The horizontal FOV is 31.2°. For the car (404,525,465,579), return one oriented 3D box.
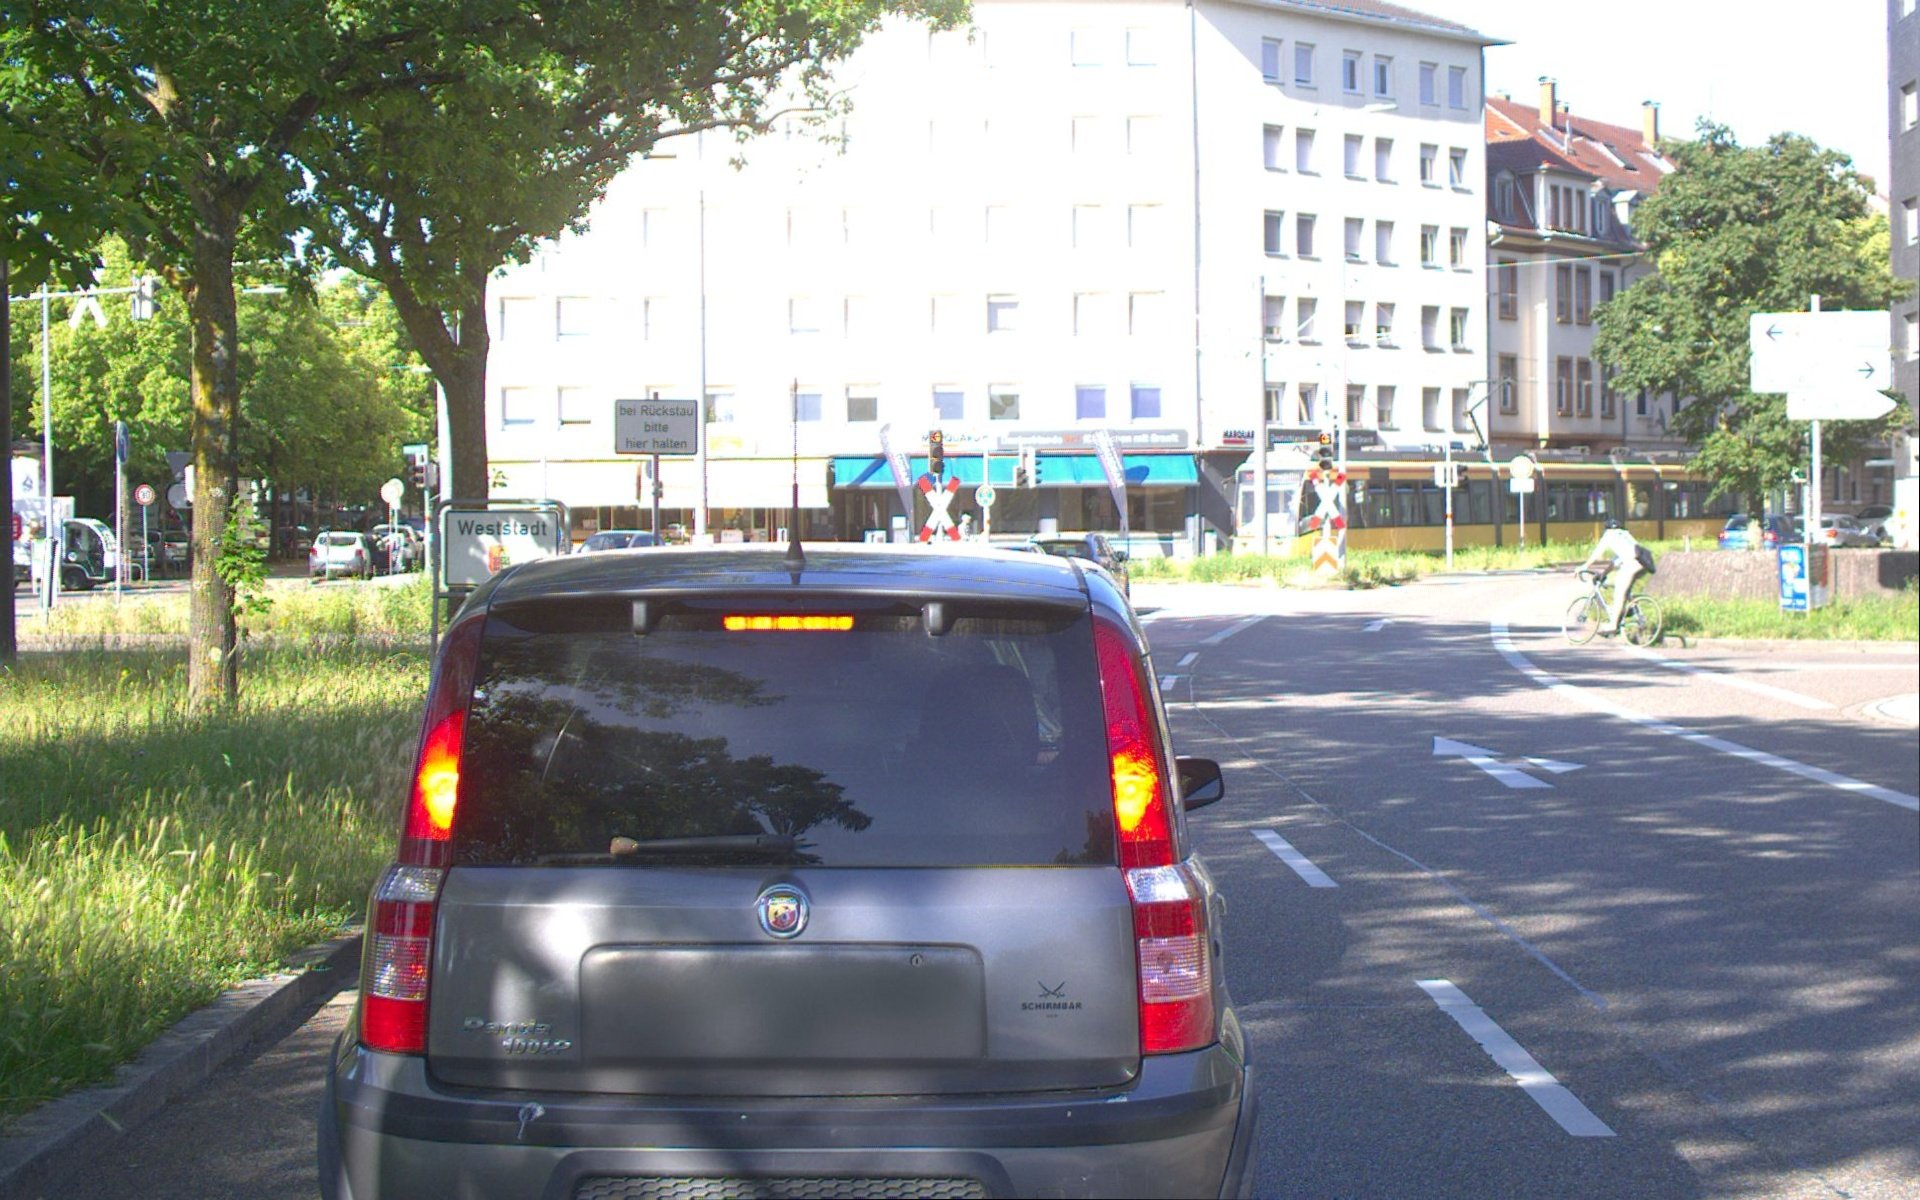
[{"bbox_3d":[-20.354,-1.877,133.310,1.993,2.007,4.001,-1,1,-4],"label":"car"}]

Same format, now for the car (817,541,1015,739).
[{"bbox_3d":[-0.344,0.269,27.270,1.463,1.420,3.381,0,2,-1],"label":"car"}]

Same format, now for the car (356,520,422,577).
[{"bbox_3d":[-20.506,-1.869,123.590,1.993,2.007,4.001,-1,1,-4],"label":"car"}]

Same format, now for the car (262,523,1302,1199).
[{"bbox_3d":[-0.299,0.598,7.424,1.628,1.503,4.000,-1,1,-1],"label":"car"}]

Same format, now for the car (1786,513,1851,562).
[{"bbox_3d":[23.456,-1.722,93.886,1.528,1.310,3.285,0,2,18],"label":"car"}]

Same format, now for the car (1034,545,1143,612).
[{"bbox_3d":[2.175,-0.371,57.675,1.143,1.060,2.719,0,1,17],"label":"car"}]

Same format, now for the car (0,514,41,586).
[{"bbox_3d":[-28.524,-1.423,97.978,4.176,2.007,1.932,-1,1,-2],"label":"car"}]

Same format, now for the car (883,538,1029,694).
[{"bbox_3d":[-0.058,0.123,33.869,1.356,1.444,3.266,-1,1,-1],"label":"car"}]

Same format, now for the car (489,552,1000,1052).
[{"bbox_3d":[-0.641,0.560,11.646,1.463,1.396,3.393,0,1,-1],"label":"car"}]

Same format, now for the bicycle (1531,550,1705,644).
[{"bbox_3d":[8.702,-0.051,45.573,0.708,1.194,2.520,1,1,-33],"label":"bicycle"}]

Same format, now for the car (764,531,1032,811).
[{"bbox_3d":[-0.358,0.356,20.685,1.463,1.503,3.505,0,2,-1],"label":"car"}]

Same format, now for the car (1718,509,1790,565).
[{"bbox_3d":[20.887,-1.664,90.394,1.683,1.444,3.569,0,1,15],"label":"car"}]

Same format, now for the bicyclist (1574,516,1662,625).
[{"bbox_3d":[8.707,-0.390,45.513,0.741,1.433,0.845,1,0,-33],"label":"bicyclist"}]

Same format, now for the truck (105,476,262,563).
[{"bbox_3d":[-28.871,-2.992,127.782,5.485,3.158,2.340,0,1,28],"label":"truck"}]

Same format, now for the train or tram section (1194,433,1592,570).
[{"bbox_3d":[12.580,-2.766,96.511,3.301,3.501,19.350,0,2,32],"label":"train or tram section"}]

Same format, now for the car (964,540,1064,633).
[{"bbox_3d":[0.752,-0.212,49.601,1.356,1.277,2.876,0,1,-1],"label":"car"}]

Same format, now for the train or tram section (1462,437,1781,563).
[{"bbox_3d":[21.906,-3.245,111.845,3.301,3.757,20.774,0,2,31],"label":"train or tram section"}]
